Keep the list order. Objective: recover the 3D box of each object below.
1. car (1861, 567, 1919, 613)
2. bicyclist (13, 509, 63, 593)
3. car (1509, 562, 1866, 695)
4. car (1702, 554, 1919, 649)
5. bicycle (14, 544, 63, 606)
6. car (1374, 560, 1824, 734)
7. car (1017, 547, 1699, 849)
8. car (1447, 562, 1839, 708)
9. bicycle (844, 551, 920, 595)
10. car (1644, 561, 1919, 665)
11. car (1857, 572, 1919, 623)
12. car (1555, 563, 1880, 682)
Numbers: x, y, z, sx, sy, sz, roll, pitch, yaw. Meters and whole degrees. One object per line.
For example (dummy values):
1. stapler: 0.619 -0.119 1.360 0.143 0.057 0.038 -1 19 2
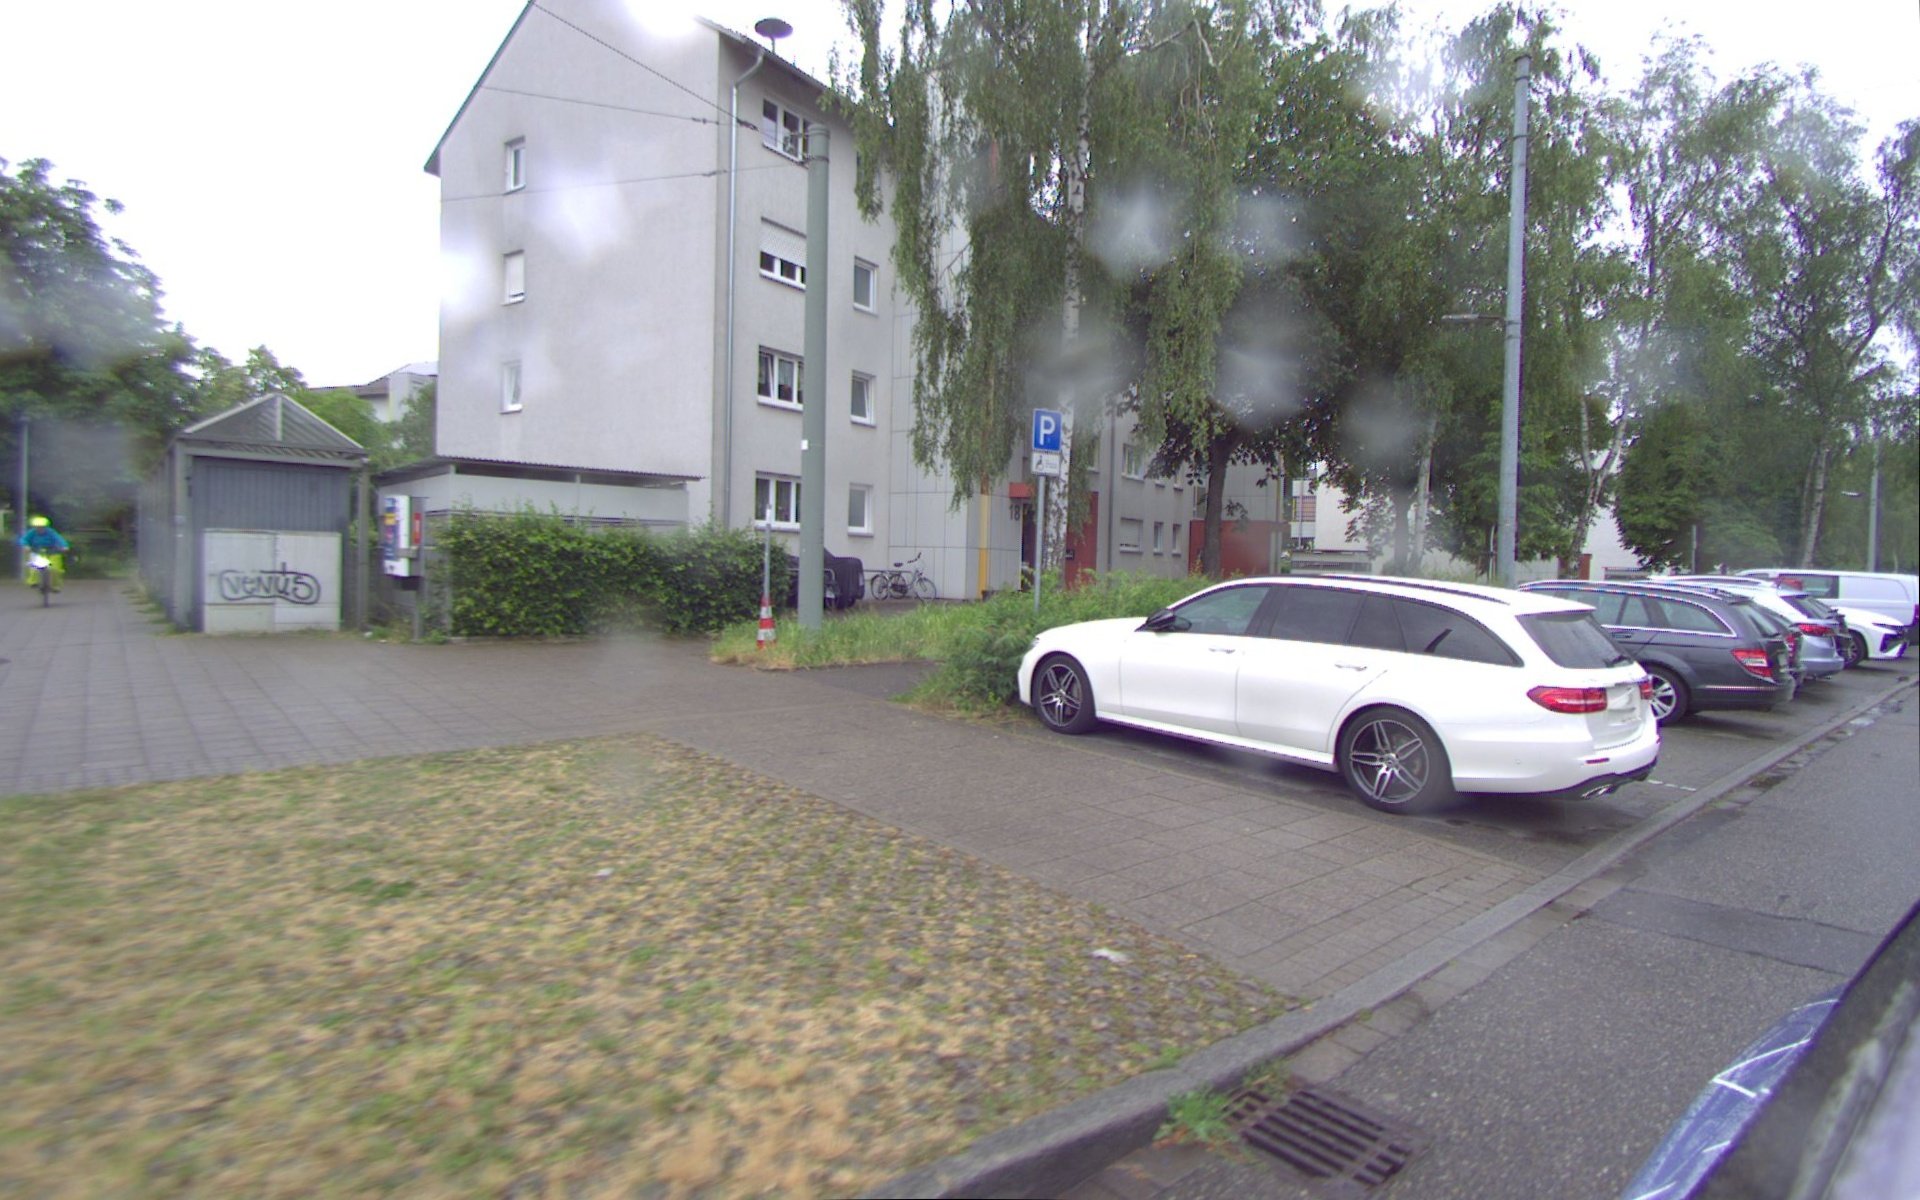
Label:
1. car: 40.528 -0.428 42.289 1.866 1.937 3.999 -1 1 -36
2. bicyclist: -17.071 -0.888 18.733 1.105 1.492 0.627 0 1 45
3. car: 10.735 0.297 15.161 1.652 1.514 4.044 -1 5 -43
4. car: 20.173 -0.030 23.757 4.172 1.888 1.654 6 5 44
5. bicycle: -17.112 -0.483 18.777 0.590 1.080 2.026 -1 2 -45
6. car: 7.147 0.375 11.658 1.652 1.456 4.044 -1 5 -43
7. car: 2.654 0.436 7.812 1.651 1.456 4.622 -1 5 -41
8. car: 9.003 0.336 13.604 1.652 1.456 4.044 -1 5 -43
9. bicycle: -1.851 -0.639 24.198 0.701 1.005 1.918 0 1 38
10. car: 16.407 0.164 20.219 1.650 1.637 4.181 -1 5 -39
11. car: 37.240 -0.093 38.788 1.866 1.937 3.999 -1 1 -36
12. car: 12.426 0.256 16.804 1.652 1.514 4.044 -1 5 -43
